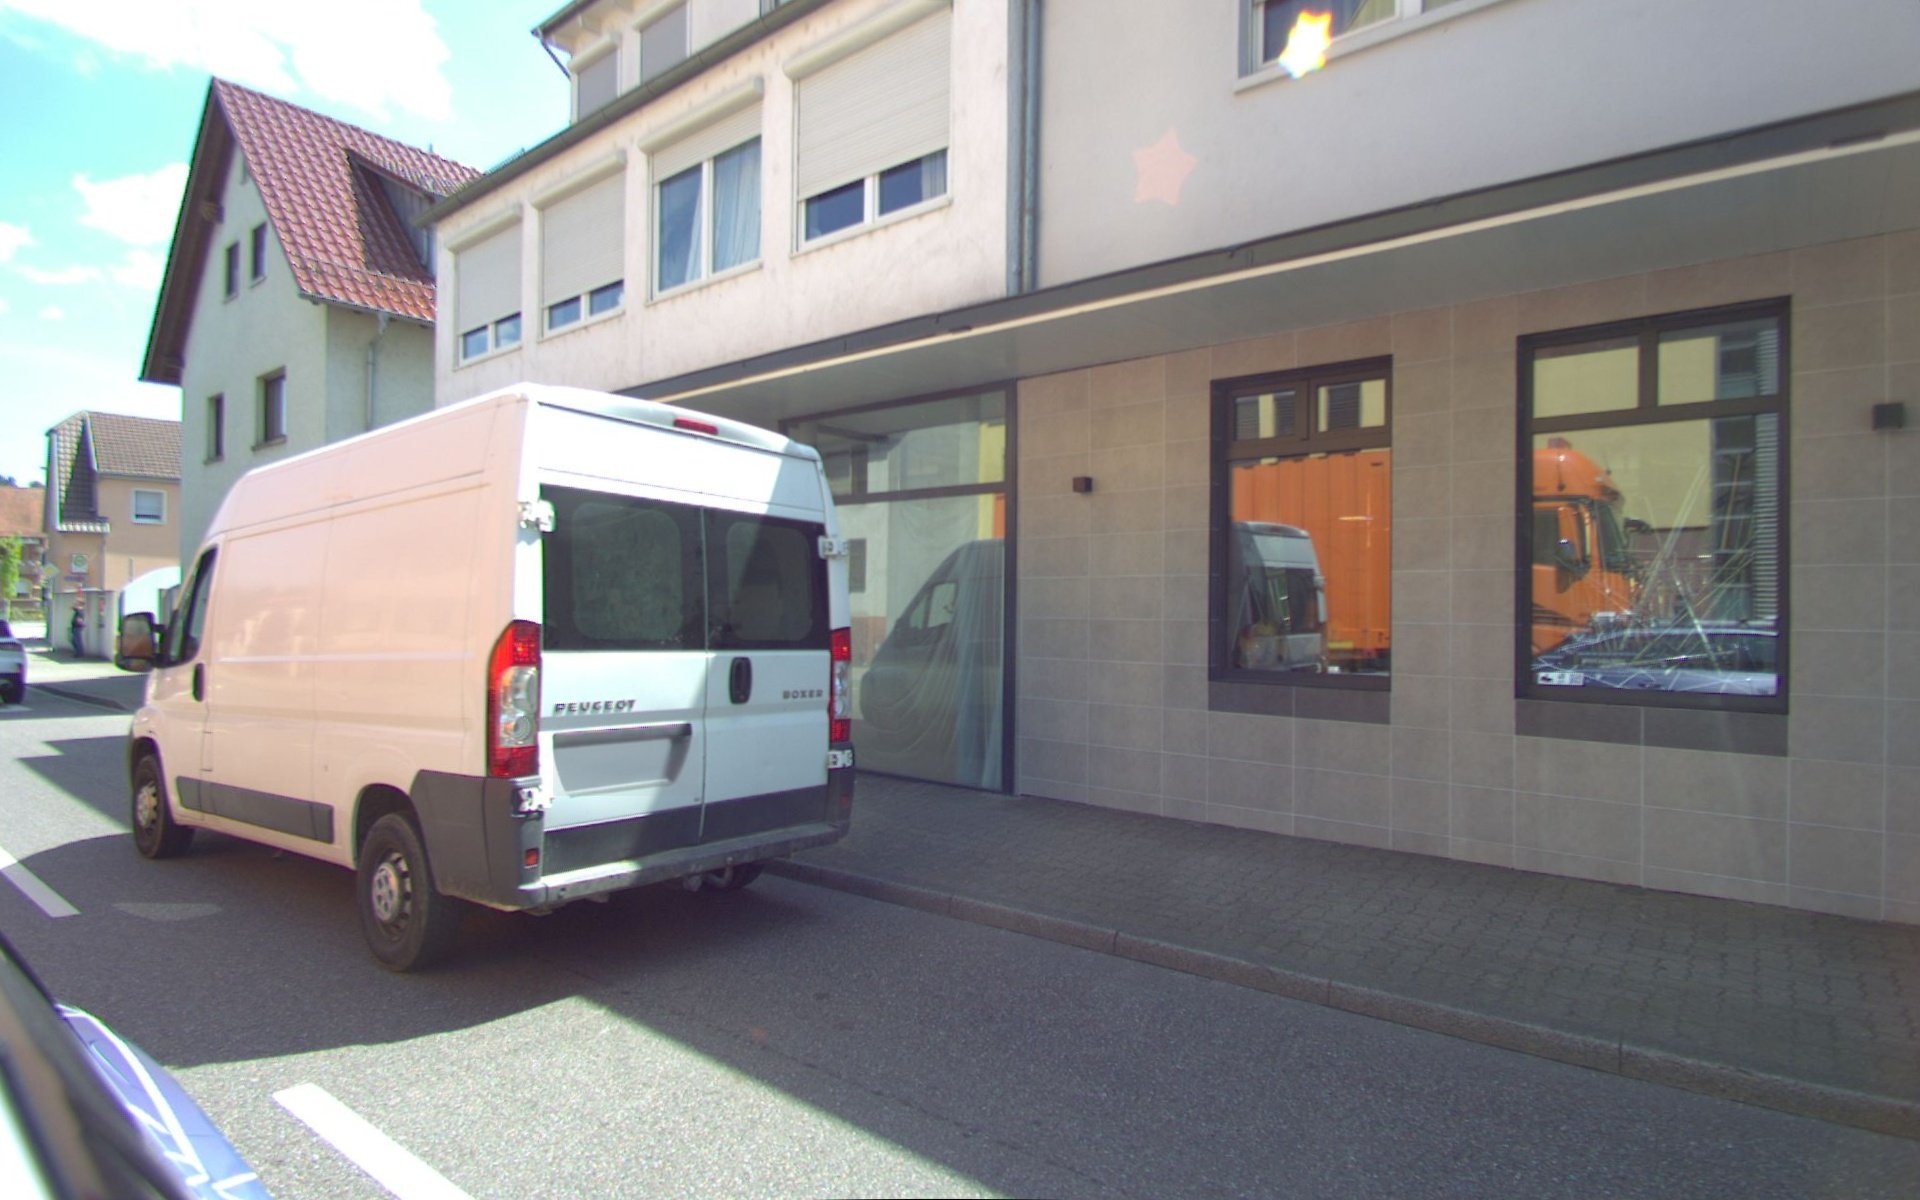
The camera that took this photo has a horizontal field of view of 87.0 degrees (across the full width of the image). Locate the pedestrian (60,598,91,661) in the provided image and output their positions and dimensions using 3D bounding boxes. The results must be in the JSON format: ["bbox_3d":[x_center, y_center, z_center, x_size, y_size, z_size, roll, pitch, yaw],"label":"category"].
[{"bbox_3d":[-25.220,0.832,28.868,0.474,1.777,0.469,0,-1,16],"label":"pedestrian"}]

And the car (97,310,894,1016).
[{"bbox_3d":[-3.136,0.289,6.203,5.385,2.588,2.120,-1,-3,37],"label":"car"}]

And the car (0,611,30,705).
[{"bbox_3d":[-18.093,0.945,17.850,4.193,1.566,1.801,0,-2,38],"label":"car"}]
